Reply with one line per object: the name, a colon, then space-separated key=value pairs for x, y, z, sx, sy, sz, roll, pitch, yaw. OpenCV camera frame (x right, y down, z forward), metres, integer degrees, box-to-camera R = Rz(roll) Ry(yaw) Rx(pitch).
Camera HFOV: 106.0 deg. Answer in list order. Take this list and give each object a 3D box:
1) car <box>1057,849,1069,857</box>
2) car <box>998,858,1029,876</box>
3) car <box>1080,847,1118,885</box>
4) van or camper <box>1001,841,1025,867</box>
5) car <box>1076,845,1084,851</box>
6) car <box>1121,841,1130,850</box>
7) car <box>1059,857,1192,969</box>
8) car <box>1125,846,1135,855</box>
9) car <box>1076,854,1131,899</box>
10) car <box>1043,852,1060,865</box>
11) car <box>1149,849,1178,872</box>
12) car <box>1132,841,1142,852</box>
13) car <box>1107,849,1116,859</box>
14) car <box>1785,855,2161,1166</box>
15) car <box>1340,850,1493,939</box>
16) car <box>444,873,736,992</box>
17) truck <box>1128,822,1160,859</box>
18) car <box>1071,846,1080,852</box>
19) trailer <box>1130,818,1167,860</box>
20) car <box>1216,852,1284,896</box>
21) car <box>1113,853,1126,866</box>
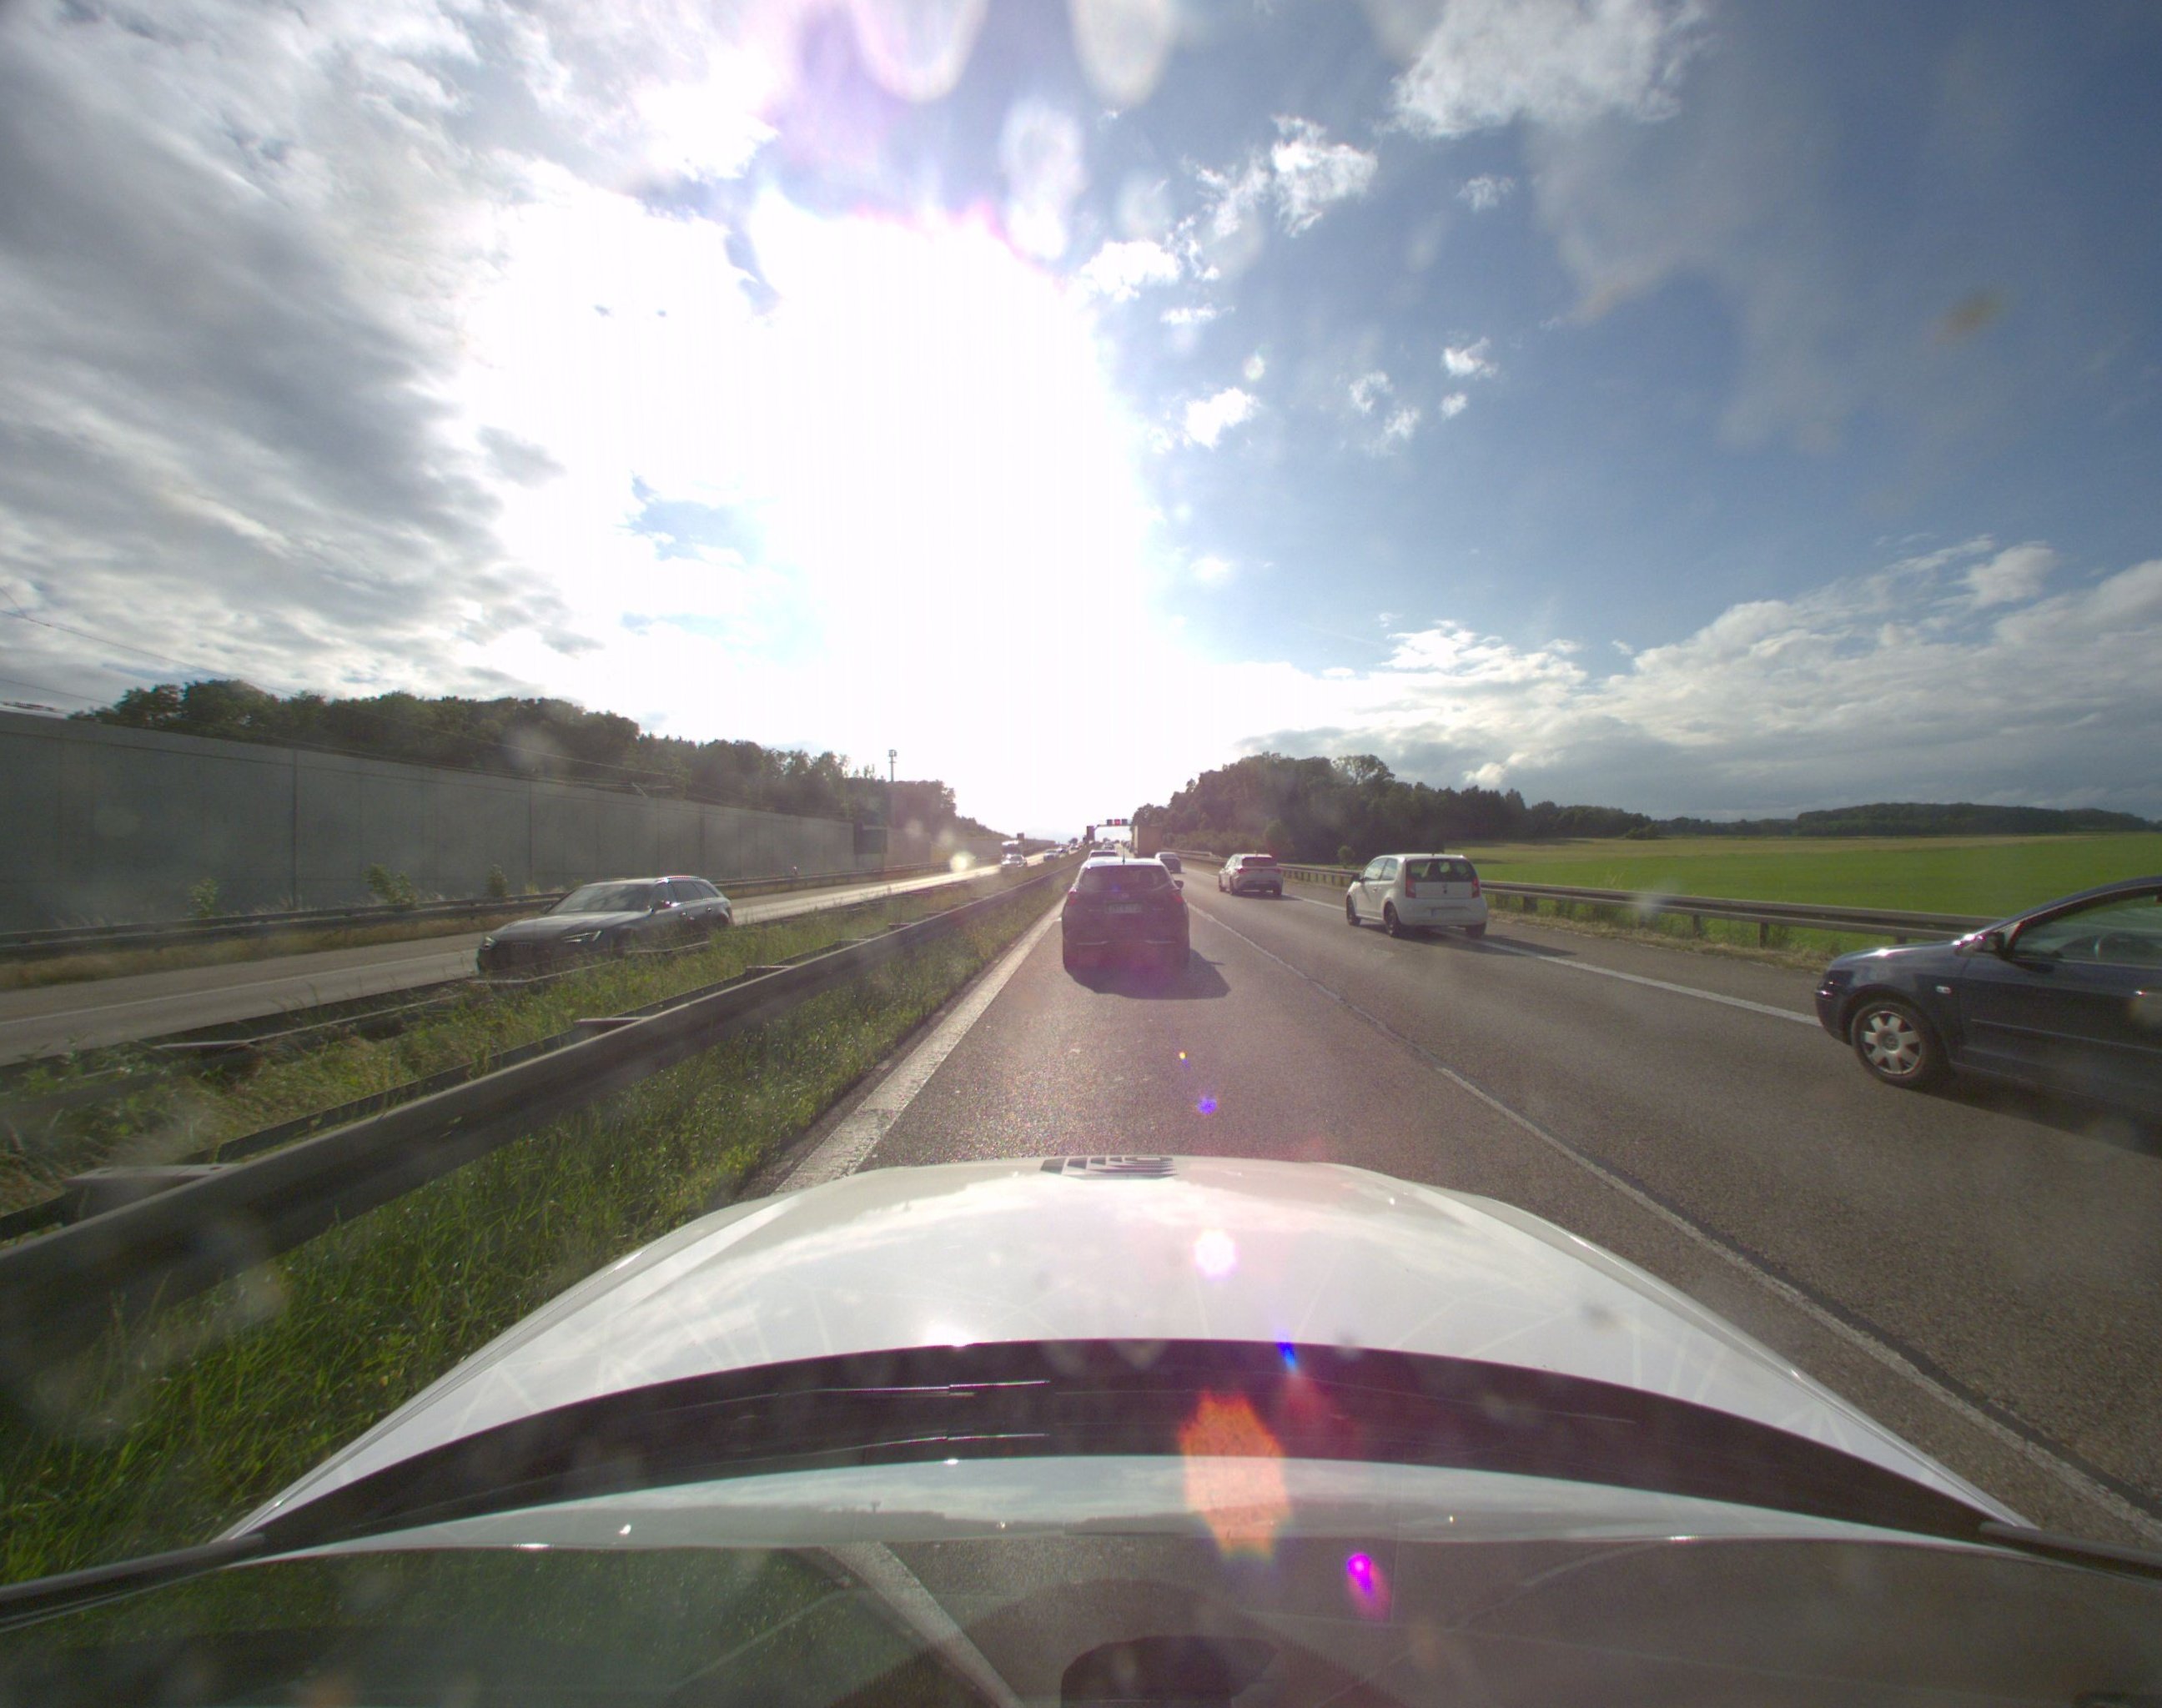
car: x=-3.223 y=-0.151 z=145.485 sx=1.847 sy=1.433 sz=4.450 roll=-1 pitch=-1 yaw=1
car: x=-5.421 y=1.031 z=65.568 sx=1.986 sy=1.433 sz=4.450 roll=0 pitch=-1 yaw=1
car: x=0.899 y=0.565 z=39.251 sx=1.667 sy=1.726 sz=3.599 roll=-1 pitch=-1 yaw=3
van or camper: x=-8.429 y=0.042 z=101.356 sx=2.217 sy=3.079 sz=6.514 roll=0 pitch=-1 yaw=1
car: x=-0.338 y=-1.553 z=217.732 sx=1.986 sy=1.433 sz=4.450 roll=0 pitch=-1 yaw=1
car: x=10.861 y=-2.118 z=198.796 sx=1.986 sy=2.014 sz=4.001 roll=0 pitch=-1 yaw=1
car: x=0.685 y=0.782 z=12.218 sx=1.702 sy=1.426 sz=3.381 roll=-1 pitch=-1 yaw=4
car: x=10.612 y=-0.740 z=176.832 sx=1.986 sy=2.014 sz=4.001 roll=0 pitch=-1 yaw=1
car: x=0.792 y=0.709 z=26.623 sx=1.667 sy=1.367 sz=3.599 roll=-1 pitch=-1 yaw=3
car: x=-3.829 y=0.624 z=107.126 sx=1.986 sy=1.593 sz=4.450 roll=0 pitch=-1 yaw=1
car: x=5.601 y=0.469 z=55.735 sx=1.740 sy=1.475 sz=4.150 roll=-1 pitch=-1 yaw=3
car: x=9.841 y=-1.282 z=143.758 sx=1.660 sy=1.755 sz=3.330 roll=-1 pitch=-1 yaw=4
car: x=5.802 y=0.045 z=155.004 sx=1.660 sy=1.755 sz=3.330 roll=-1 pitch=-1 yaw=4
car: x=5.882 y=0.722 z=3.969 sx=1.704 sy=1.445 sz=3.775 roll=-1 pitch=-1 yaw=2
car: x=6.203 y=0.675 z=15.439 sx=1.543 sy=1.495 sz=3.378 roll=-1 pitch=0 yaw=1
car: x=-7.268 y=1.071 z=12.679 sx=1.895 sy=1.464 sz=4.185 roll=0 pitch=-1 yaw=2
truck: x=7.779 y=-1.547 z=100.941 sx=3.569 sy=4.380 sz=6.690 roll=0 pitch=-1 yaw=1
car: x=-1.269 y=-1.190 z=188.562 sx=1.986 sy=1.433 sz=4.450 roll=0 pitch=-1 yaw=1
trailer: x=7.643 y=-1.609 z=94.271 sx=3.535 sy=4.457 sz=12.726 roll=0 pitch=-1 yaw=2
car: x=5.976 y=0.678 z=29.153 sx=1.615 sy=1.445 sz=4.147 roll=-1 pitch=-1 yaw=1
car: x=6.115 y=0.901 z=129.203 sx=1.986 sy=2.014 sz=4.001 roll=0 pitch=-1 yaw=1
